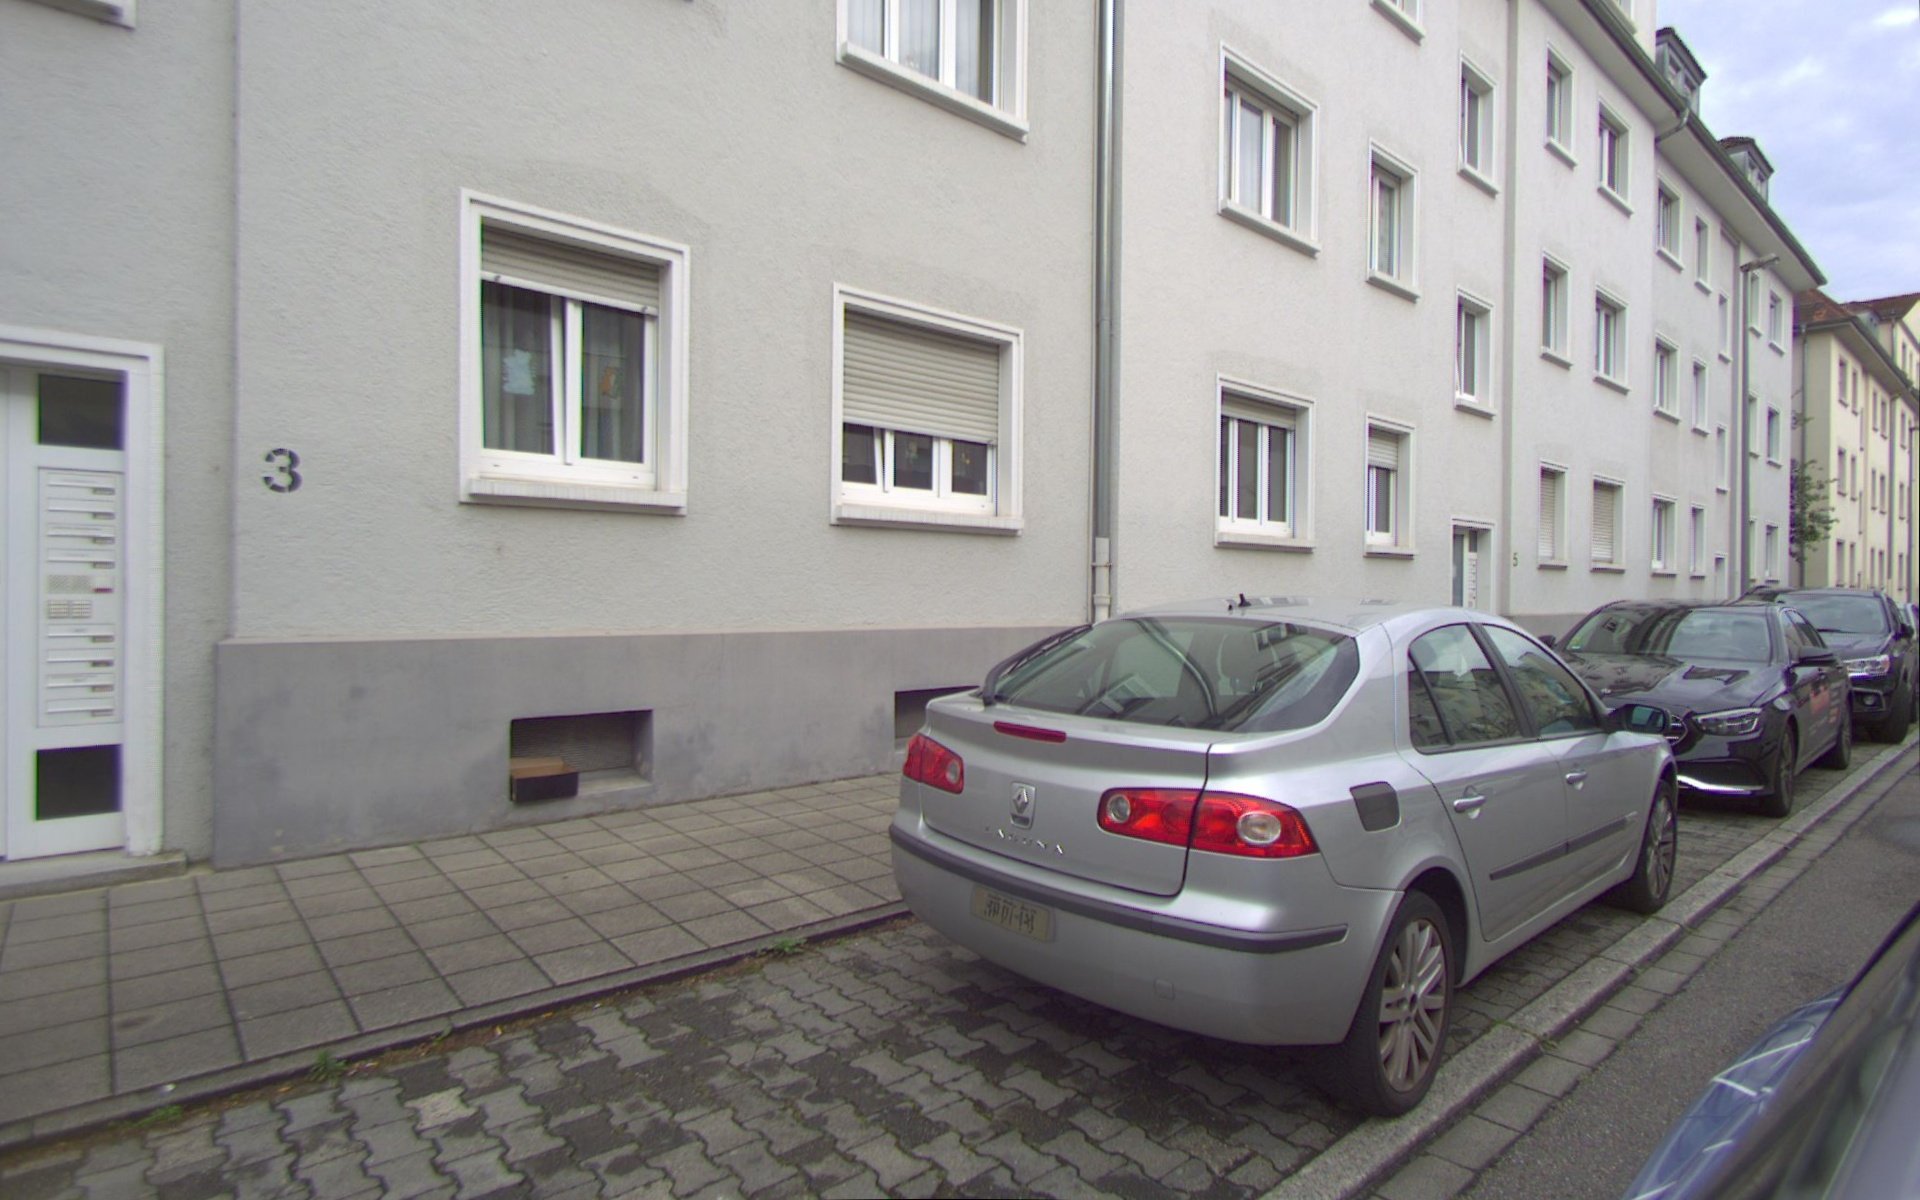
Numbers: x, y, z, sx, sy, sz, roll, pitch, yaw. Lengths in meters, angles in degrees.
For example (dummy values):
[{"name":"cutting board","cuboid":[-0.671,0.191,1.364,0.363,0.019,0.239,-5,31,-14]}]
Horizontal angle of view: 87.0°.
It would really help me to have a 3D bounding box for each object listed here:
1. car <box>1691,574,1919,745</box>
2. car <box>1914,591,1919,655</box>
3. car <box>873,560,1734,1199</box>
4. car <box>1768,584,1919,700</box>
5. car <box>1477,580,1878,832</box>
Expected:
[{"name":"car","cuboid":[10.050,0.553,11.667,4.089,1.619,1.850,0,1,-43]},{"name":"car","cuboid":[25.282,0.568,25.360,3.615,1.566,1.735,0,1,-43]},{"name":"car","cuboid":[1.872,0.631,4.469,4.355,1.481,1.735,0,1,-43]},{"name":"car","cuboid":[13.611,0.557,15.153,3.691,1.505,1.735,0,1,-41]},{"name":"car","cuboid":[5.913,0.621,8.122,4.249,1.481,1.784,0,1,-43]}]
